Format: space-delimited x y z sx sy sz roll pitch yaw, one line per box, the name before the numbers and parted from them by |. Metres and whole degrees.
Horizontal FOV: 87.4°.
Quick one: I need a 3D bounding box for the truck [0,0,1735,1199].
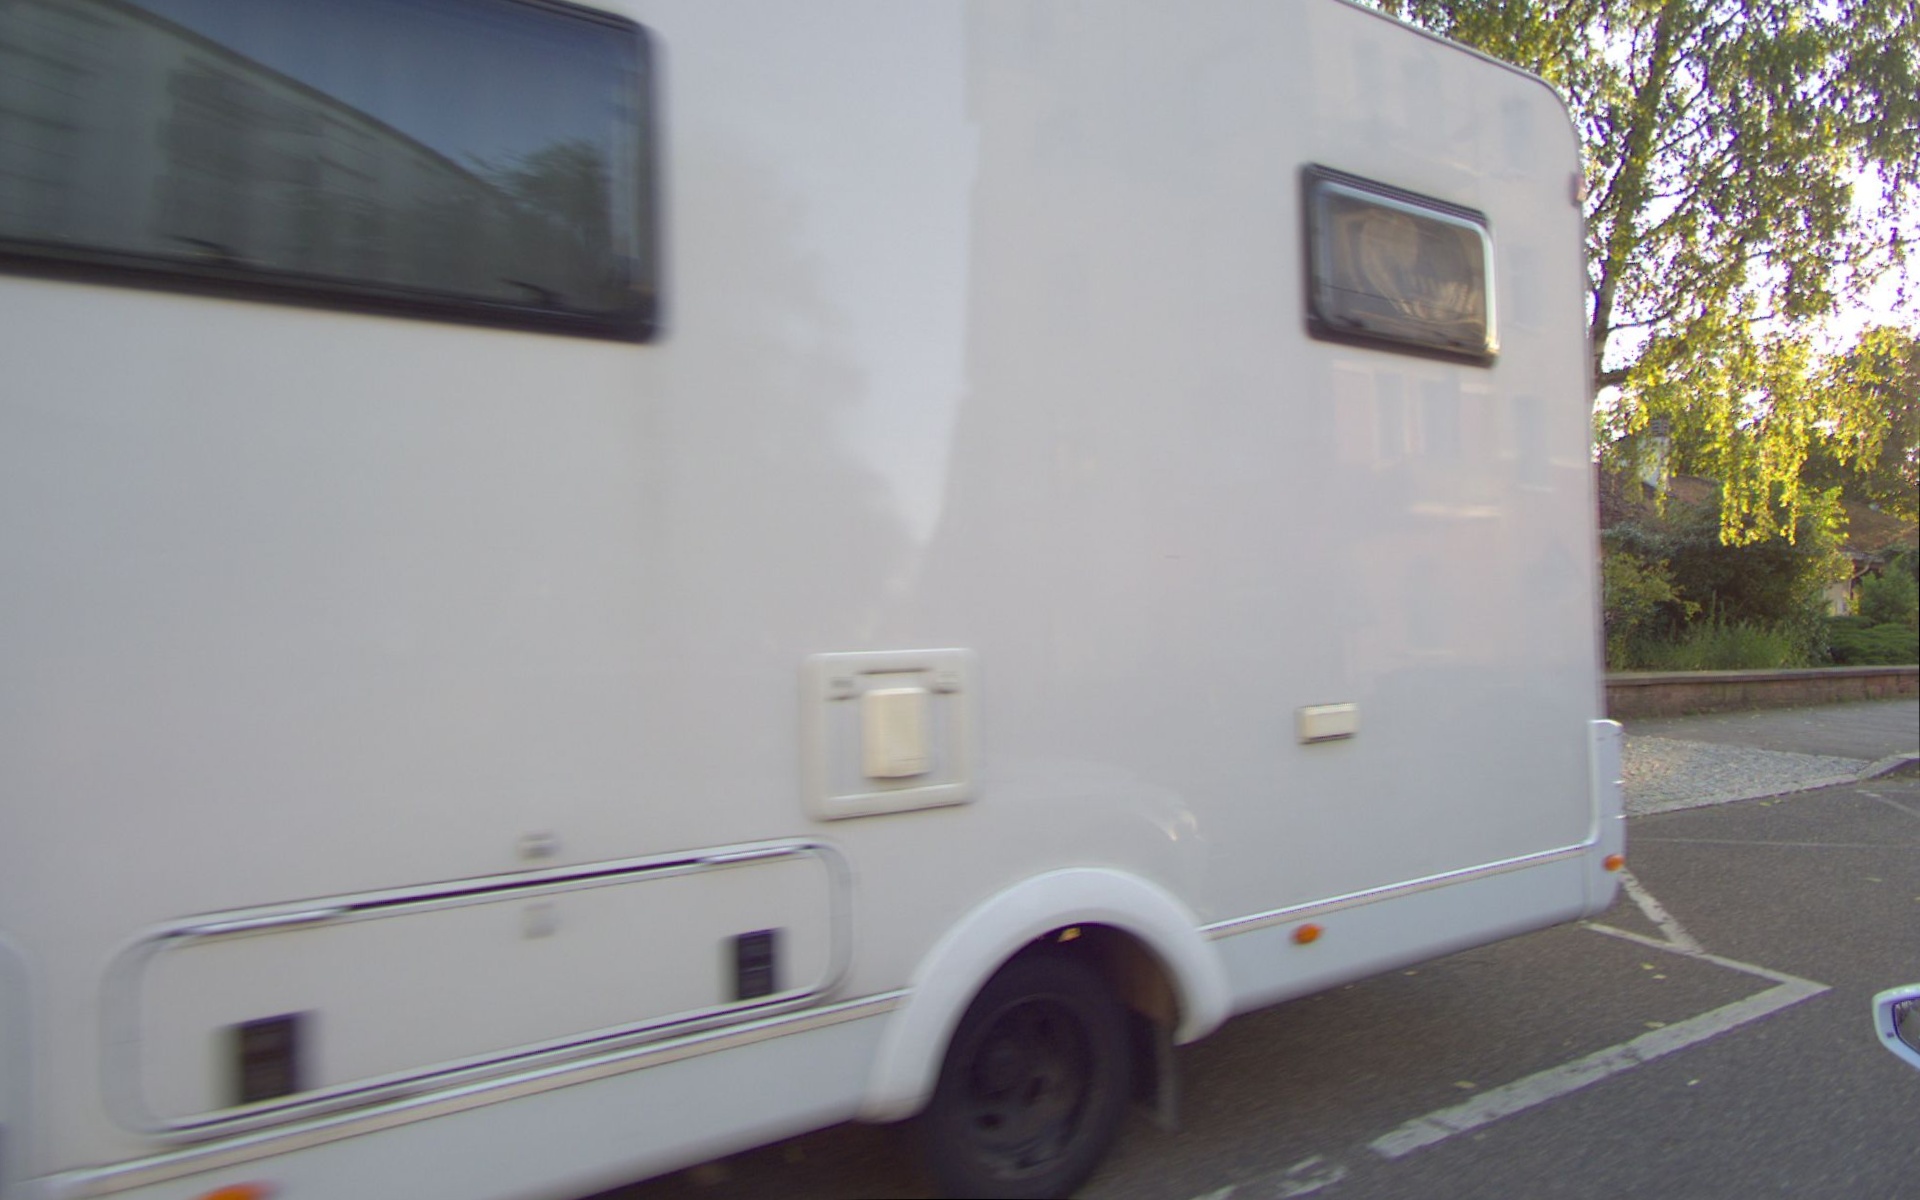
truck | -1.397 -0.194 2.797 7.916 3.397 2.516 1 -3 -28
